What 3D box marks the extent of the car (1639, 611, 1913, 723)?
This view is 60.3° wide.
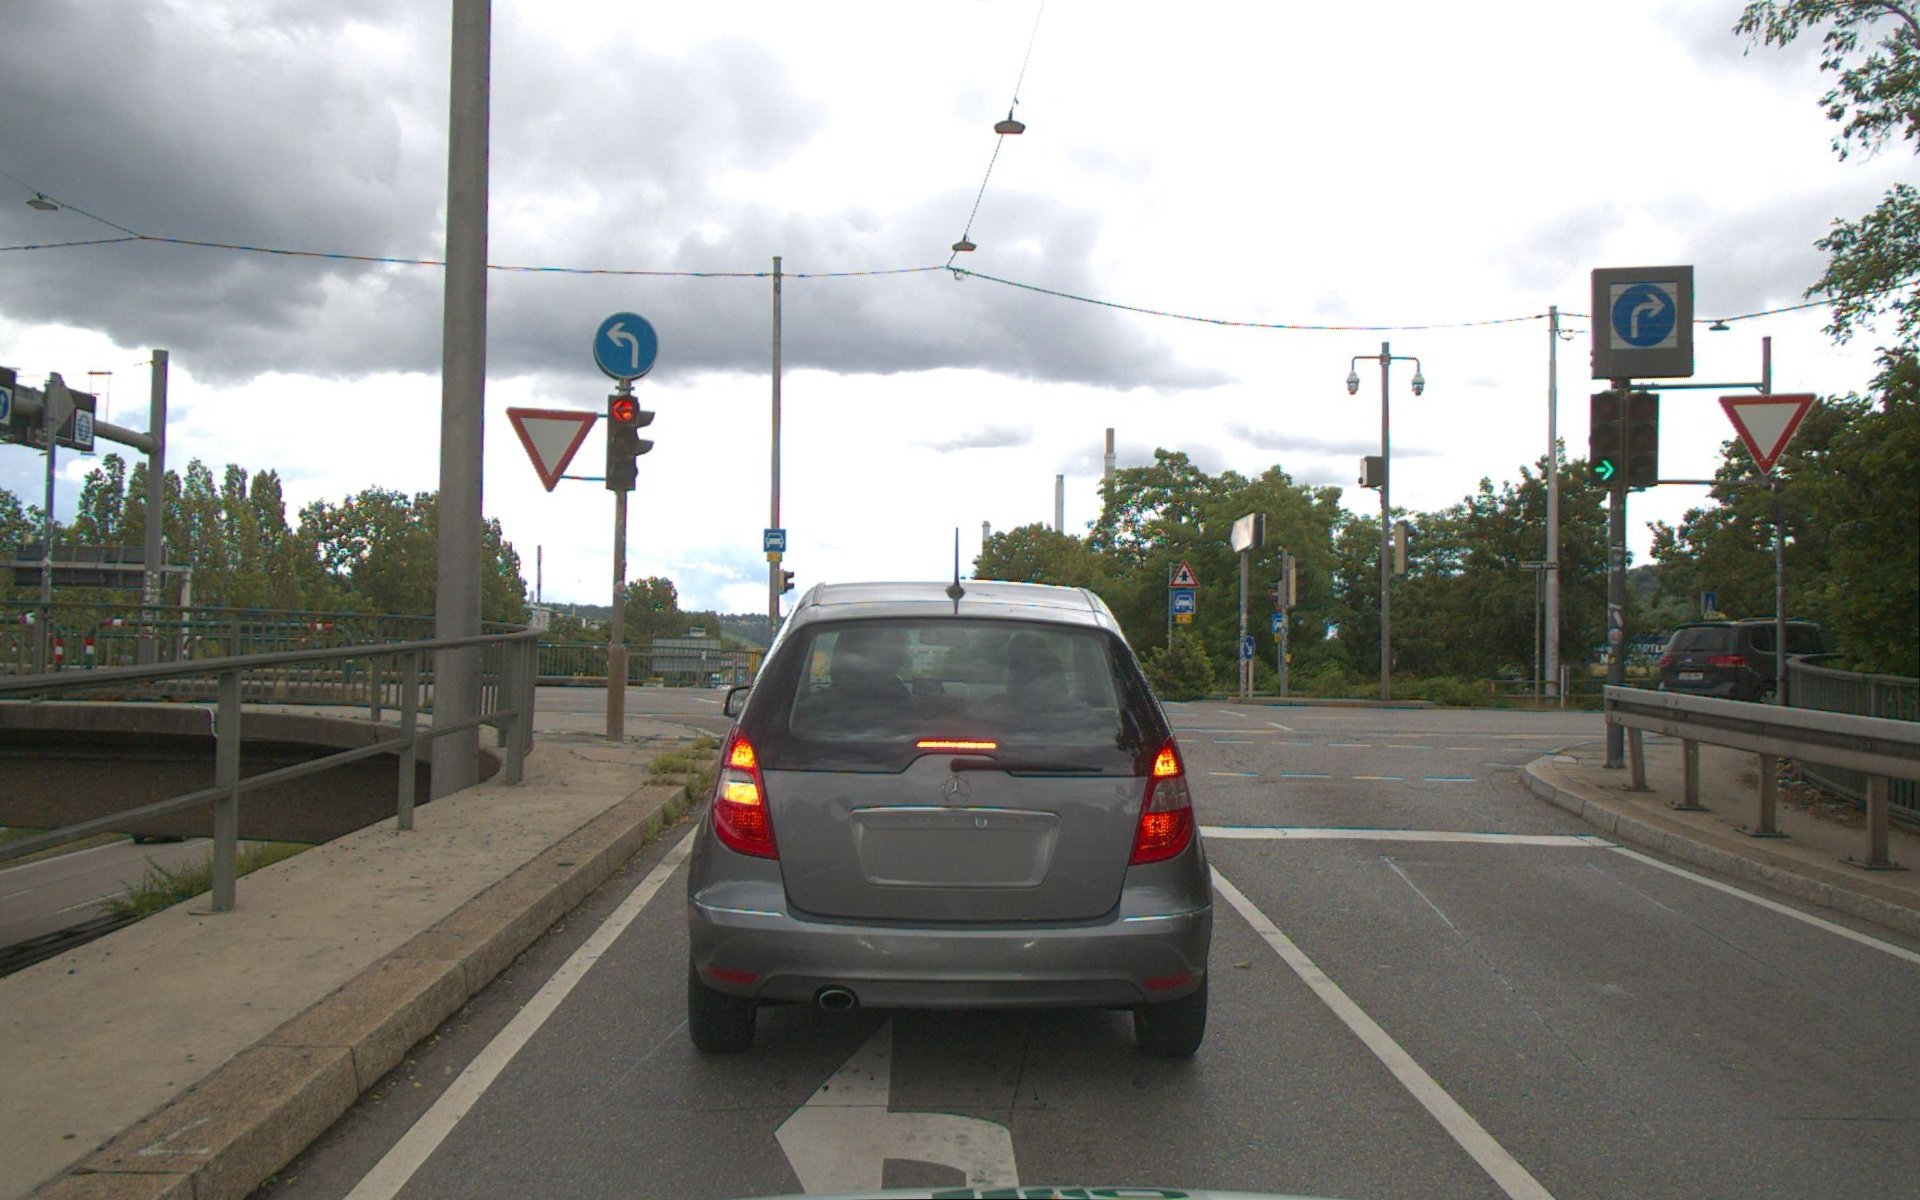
[{"bbox_3d":[13.218,1.062,26.783,4.081,1.682,1.789,1,0,-24],"label":"car"}]

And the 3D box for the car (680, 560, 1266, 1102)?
[{"bbox_3d":[0.022,0.689,6.643,1.704,1.570,3.540,1,0,-1],"label":"car"}]
